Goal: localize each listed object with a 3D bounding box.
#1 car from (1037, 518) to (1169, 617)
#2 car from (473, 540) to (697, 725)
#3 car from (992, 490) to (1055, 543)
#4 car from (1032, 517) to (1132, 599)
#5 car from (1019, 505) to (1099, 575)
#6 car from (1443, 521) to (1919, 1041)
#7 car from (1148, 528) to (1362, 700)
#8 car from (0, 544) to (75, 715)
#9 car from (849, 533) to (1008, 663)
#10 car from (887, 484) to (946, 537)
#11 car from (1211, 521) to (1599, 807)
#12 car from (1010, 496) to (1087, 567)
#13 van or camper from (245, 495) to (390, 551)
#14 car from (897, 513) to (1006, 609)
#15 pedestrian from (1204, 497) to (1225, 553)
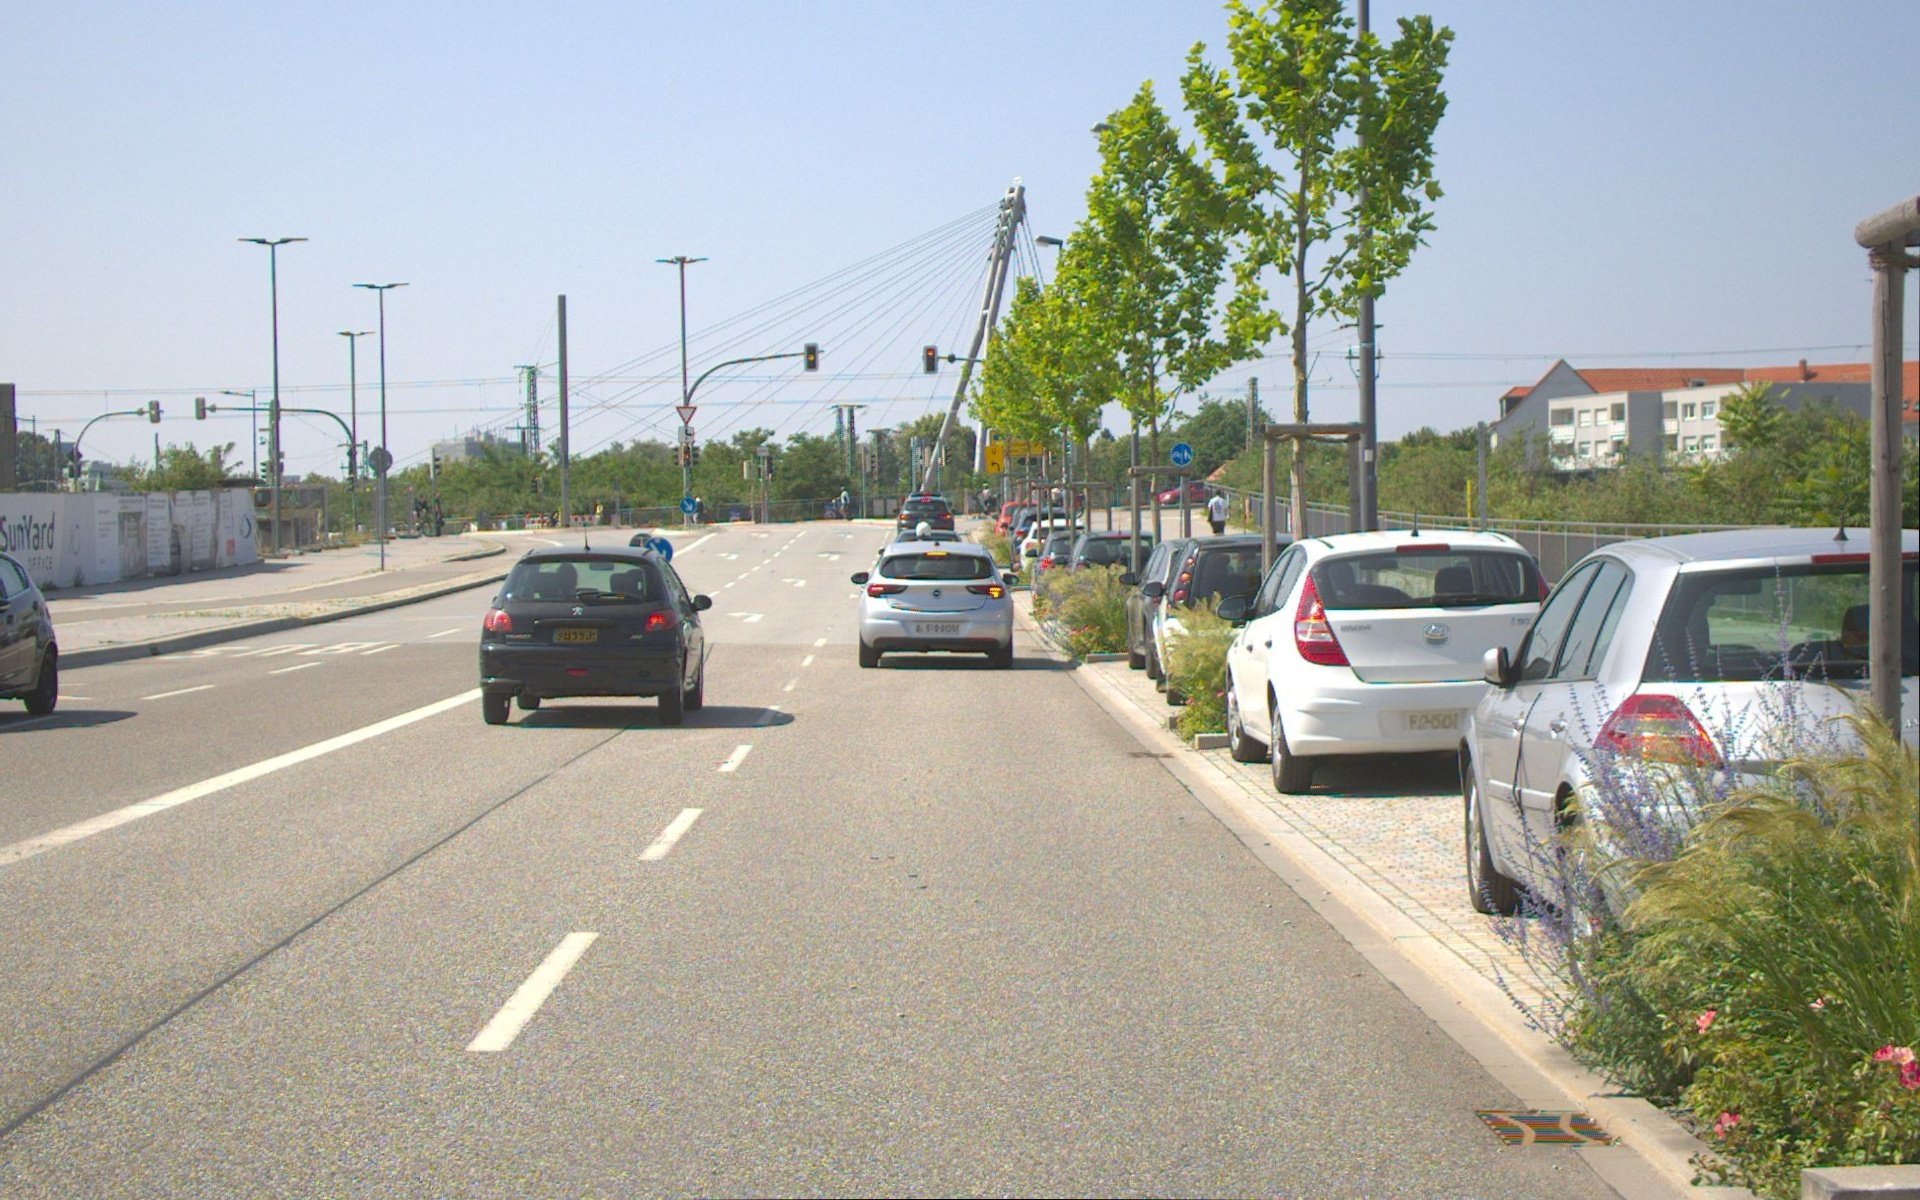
[{"bbox_3d":[2.195,-0.535,53.650,1.704,1.457,3.955,-1,1,-2],"label":"car"},{"bbox_3d":[-3.082,0.221,28.827,1.619,1.411,3.728,-1,1,-3],"label":"car"},{"bbox_3d":[1.896,-2.532,103.376,1.778,1.498,4.000,-1,2,0],"label":"car"},{"bbox_3d":[2.205,-0.777,63.133,1.704,1.397,4.270,-2,1,1],"label":"car"},{"bbox_3d":[2.239,-1.390,78.716,1.696,1.470,4.206,-2,2,0],"label":"car"},{"bbox_3d":[2.859,0.480,12.001,1.908,1.474,4.158,-1,1,2],"label":"car"},{"bbox_3d":[2.659,0.077,31.746,1.704,1.457,4.085,-1,1,1],"label":"car"},{"bbox_3d":[-8.482,0.254,27.450,1.704,1.347,4.456,-1,1,-1],"label":"car"},{"bbox_3d":[-0.343,-0.065,40.606,1.778,1.437,4.000,0,1,0],"label":"car"},{"bbox_3d":[-1.353,-2.832,108.168,1.778,1.563,4.001,-1,3,0],"label":"car"},{"bbox_3d":[2.569,0.320,20.702,1.746,1.504,4.001,-2,1,0],"label":"car"},{"bbox_3d":[2.179,-1.715,85.371,1.822,1.611,3.611,-2,2,1],"label":"car"},{"bbox_3d":[-22.405,-2.687,120.039,1.998,1.890,4.706,0,2,43],"label":"van or camper"},{"bbox_3d":[-0.146,-0.690,59.058,1.778,1.563,4.000,-1,1,0],"label":"car"},{"bbox_3d":[7.129,-2.105,96.430,0.533,1.570,0.524,1,0,0],"label":"pedestrian"}]
